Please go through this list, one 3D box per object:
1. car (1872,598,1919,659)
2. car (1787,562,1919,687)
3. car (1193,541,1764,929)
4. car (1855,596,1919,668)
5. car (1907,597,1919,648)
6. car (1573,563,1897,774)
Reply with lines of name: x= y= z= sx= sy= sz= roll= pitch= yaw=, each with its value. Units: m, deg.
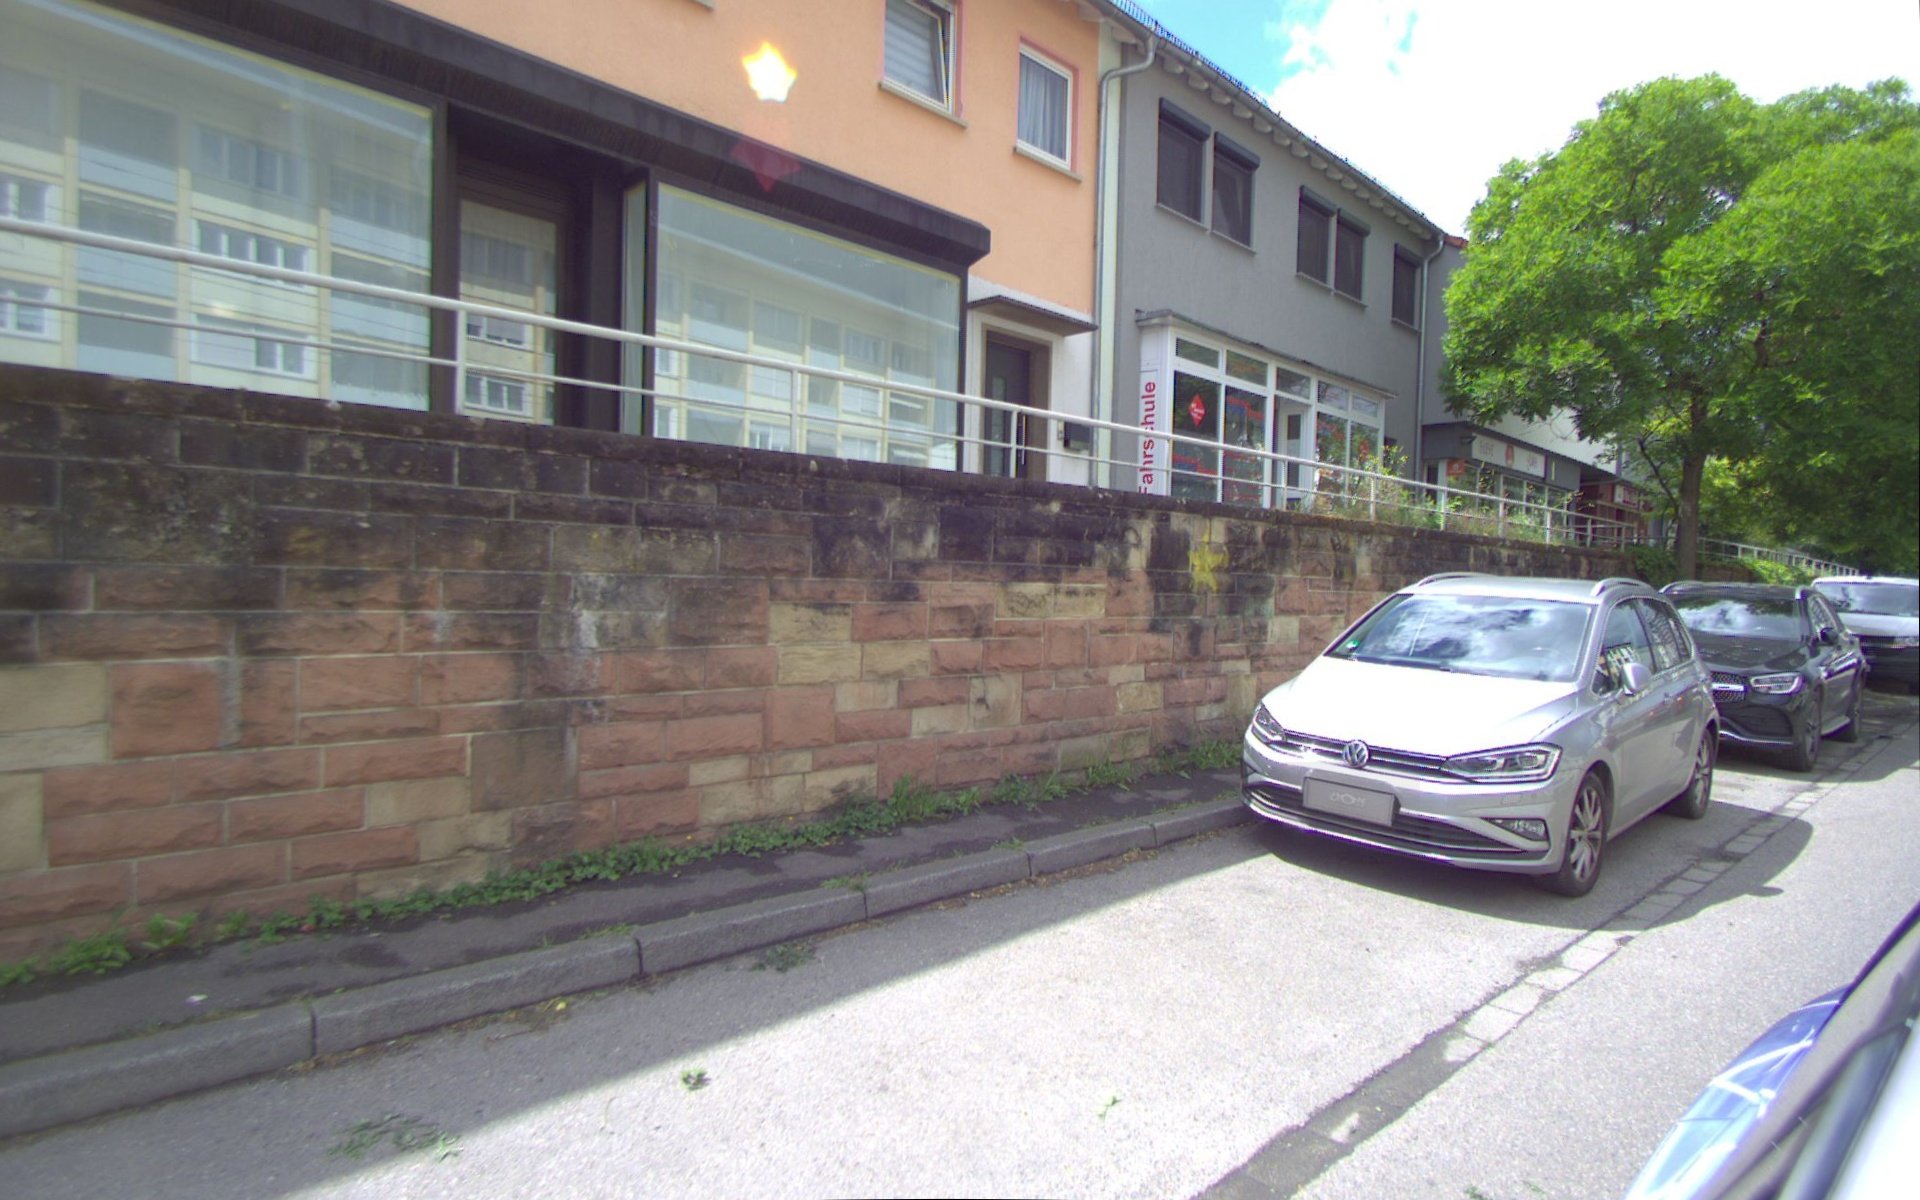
car: x=24.432 y=0.695 z=25.575 sx=4.077 sy=1.446 sz=1.782 roll=0 pitch=2 yaw=-44
car: x=16.648 y=0.372 z=18.187 sx=4.926 sy=1.994 sz=1.976 roll=0 pitch=1 yaw=-42
car: x=3.466 y=0.537 z=6.371 sx=4.176 sy=1.637 sz=1.793 roll=0 pitch=3 yaw=-42
car: x=20.847 y=0.663 z=22.057 sx=3.670 sy=1.446 sz=1.577 roll=0 pitch=1 yaw=-42
car: x=29.703 y=0.678 z=30.154 sx=4.075 sy=1.446 sz=1.783 roll=0 pitch=1 yaw=-42
car: x=8.007 y=0.528 z=10.298 sx=4.371 sy=1.637 sz=1.793 roll=0 pitch=3 yaw=-42
